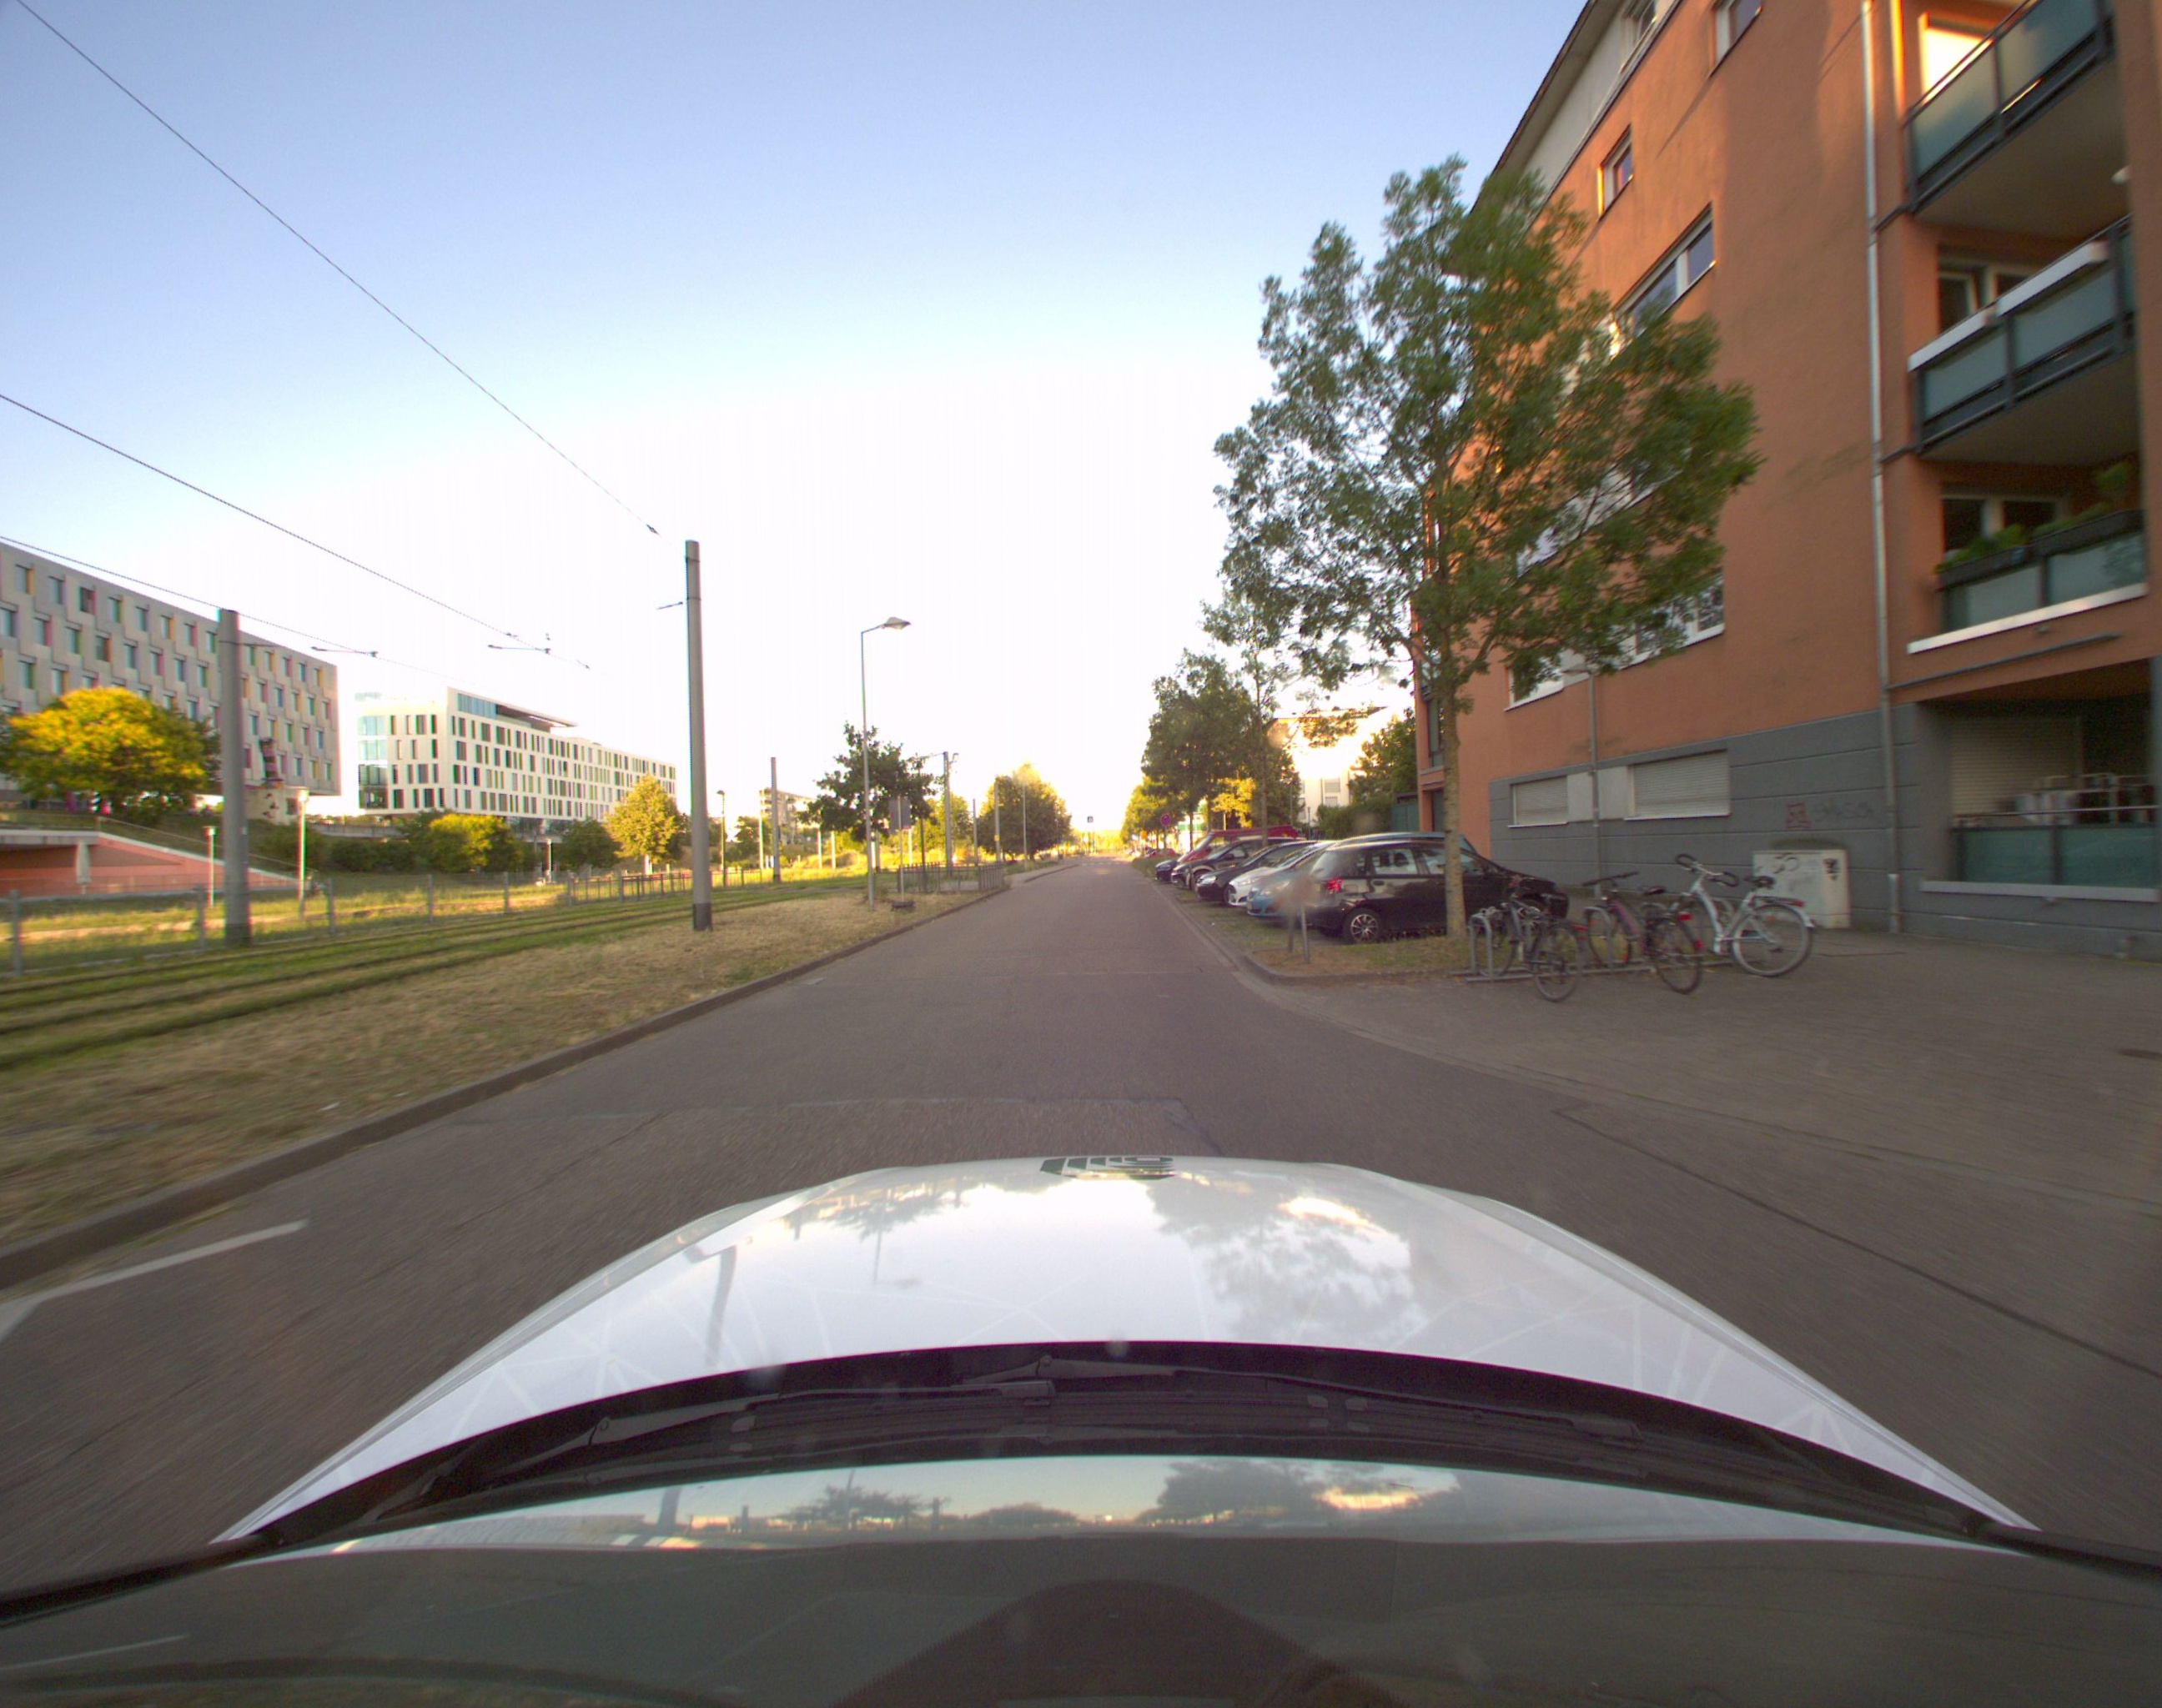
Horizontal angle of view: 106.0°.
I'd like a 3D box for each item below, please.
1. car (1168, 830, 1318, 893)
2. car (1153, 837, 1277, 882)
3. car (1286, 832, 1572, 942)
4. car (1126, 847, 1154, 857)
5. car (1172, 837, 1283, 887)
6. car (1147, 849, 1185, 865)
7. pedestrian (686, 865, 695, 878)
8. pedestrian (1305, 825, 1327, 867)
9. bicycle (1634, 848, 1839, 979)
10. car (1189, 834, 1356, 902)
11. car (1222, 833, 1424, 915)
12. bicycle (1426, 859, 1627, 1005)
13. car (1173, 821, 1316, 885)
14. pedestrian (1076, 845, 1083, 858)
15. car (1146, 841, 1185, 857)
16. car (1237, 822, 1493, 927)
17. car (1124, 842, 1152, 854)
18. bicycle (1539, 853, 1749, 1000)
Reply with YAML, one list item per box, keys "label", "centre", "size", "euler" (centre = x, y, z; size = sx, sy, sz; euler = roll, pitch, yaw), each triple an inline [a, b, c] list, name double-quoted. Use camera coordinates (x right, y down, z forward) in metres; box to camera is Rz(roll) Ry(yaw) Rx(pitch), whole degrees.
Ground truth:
- label: "car"
  centre: [4.867, 0.222, 24.931]
  size: [4.199, 1.569, 1.793]
  euler: [-4, 0, 2]
- label: "car"
  centre: [5.286, 0.214, 32.490]
  size: [4.651, 1.556, 1.812]
  euler: [-2, 0, 2]
- label: "car"
  centre: [5.275, 0.464, 12.637]
  size: [3.740, 1.473, 1.612]
  euler: [-2, 0, -3]
- label: "car"
  centre: [9.648, -0.330, 134.092]
  size: [4.465, 1.596, 2.002]
  euler: [-2, 0, 3]
- label: "car"
  centre: [5.016, 0.261, 28.200]
  size: [3.511, 1.465, 1.616]
  euler: [-4, 0, 2]
- label: "car"
  centre: [8.996, 0.289, 86.475]
  size: [3.790, 1.508, 1.679]
  euler: [-2, 0, 0]
- label: "pedestrian"
  centre: [-57.036, 2.571, 119.056]
  size: [0.783, 1.786, 0.815]
  euler: [-2, 0, 5]
- label: "pedestrian"
  centre: [10.041, -0.354, 34.811]
  size: [0.666, 1.743, 0.700]
  euler: [-2, 0, 2]
- label: "bicycle"
  centre: [6.573, 0.529, 8.320]
  size: [0.527, 1.126, 1.963]
  euler: [0, 2, 0]
- label: "car"
  centre: [4.667, 0.365, 20.224]
  size: [3.759, 1.495, 1.539]
  euler: [-2, -2, 1]
- label: "car"
  centre: [5.109, 0.402, 17.566]
  size: [3.861, 1.569, 1.621]
  euler: [-2, 0, 2]
- label: "bicycle"
  centre: [4.284, 0.680, 8.032]
  size: [0.716, 1.152, 1.893]
  euler: [-4, 2, -8]
- label: "car"
  centre: [5.946, -0.036, 30.091]
  size: [4.899, 2.117, 2.019]
  euler: [-2, 0, 3]
- label: "pedestrian"
  centre: [-0.188, -0.426, 124.477]
  size: [0.842, 2.013, 0.946]
  euler: [-2, 0, 8]
- label: "car"
  centre: [8.625, -0.488, 83.655]
  size: [3.790, 1.508, 1.679]
  euler: [-2, 0, 0]
- label: "car"
  centre: [5.022, 0.344, 14.822]
  size: [4.034, 1.569, 1.674]
  euler: [-3, 0, 2]
- label: "car"
  centre: [11.014, -1.134, 157.275]
  size: [4.991, 2.045, 2.248]
  euler: [-2, 0, -3]
- label: "bicycle"
  centre: [5.355, 0.621, 7.922]
  size: [0.676, 1.152, 1.928]
  euler: [-4, 2, 0]
